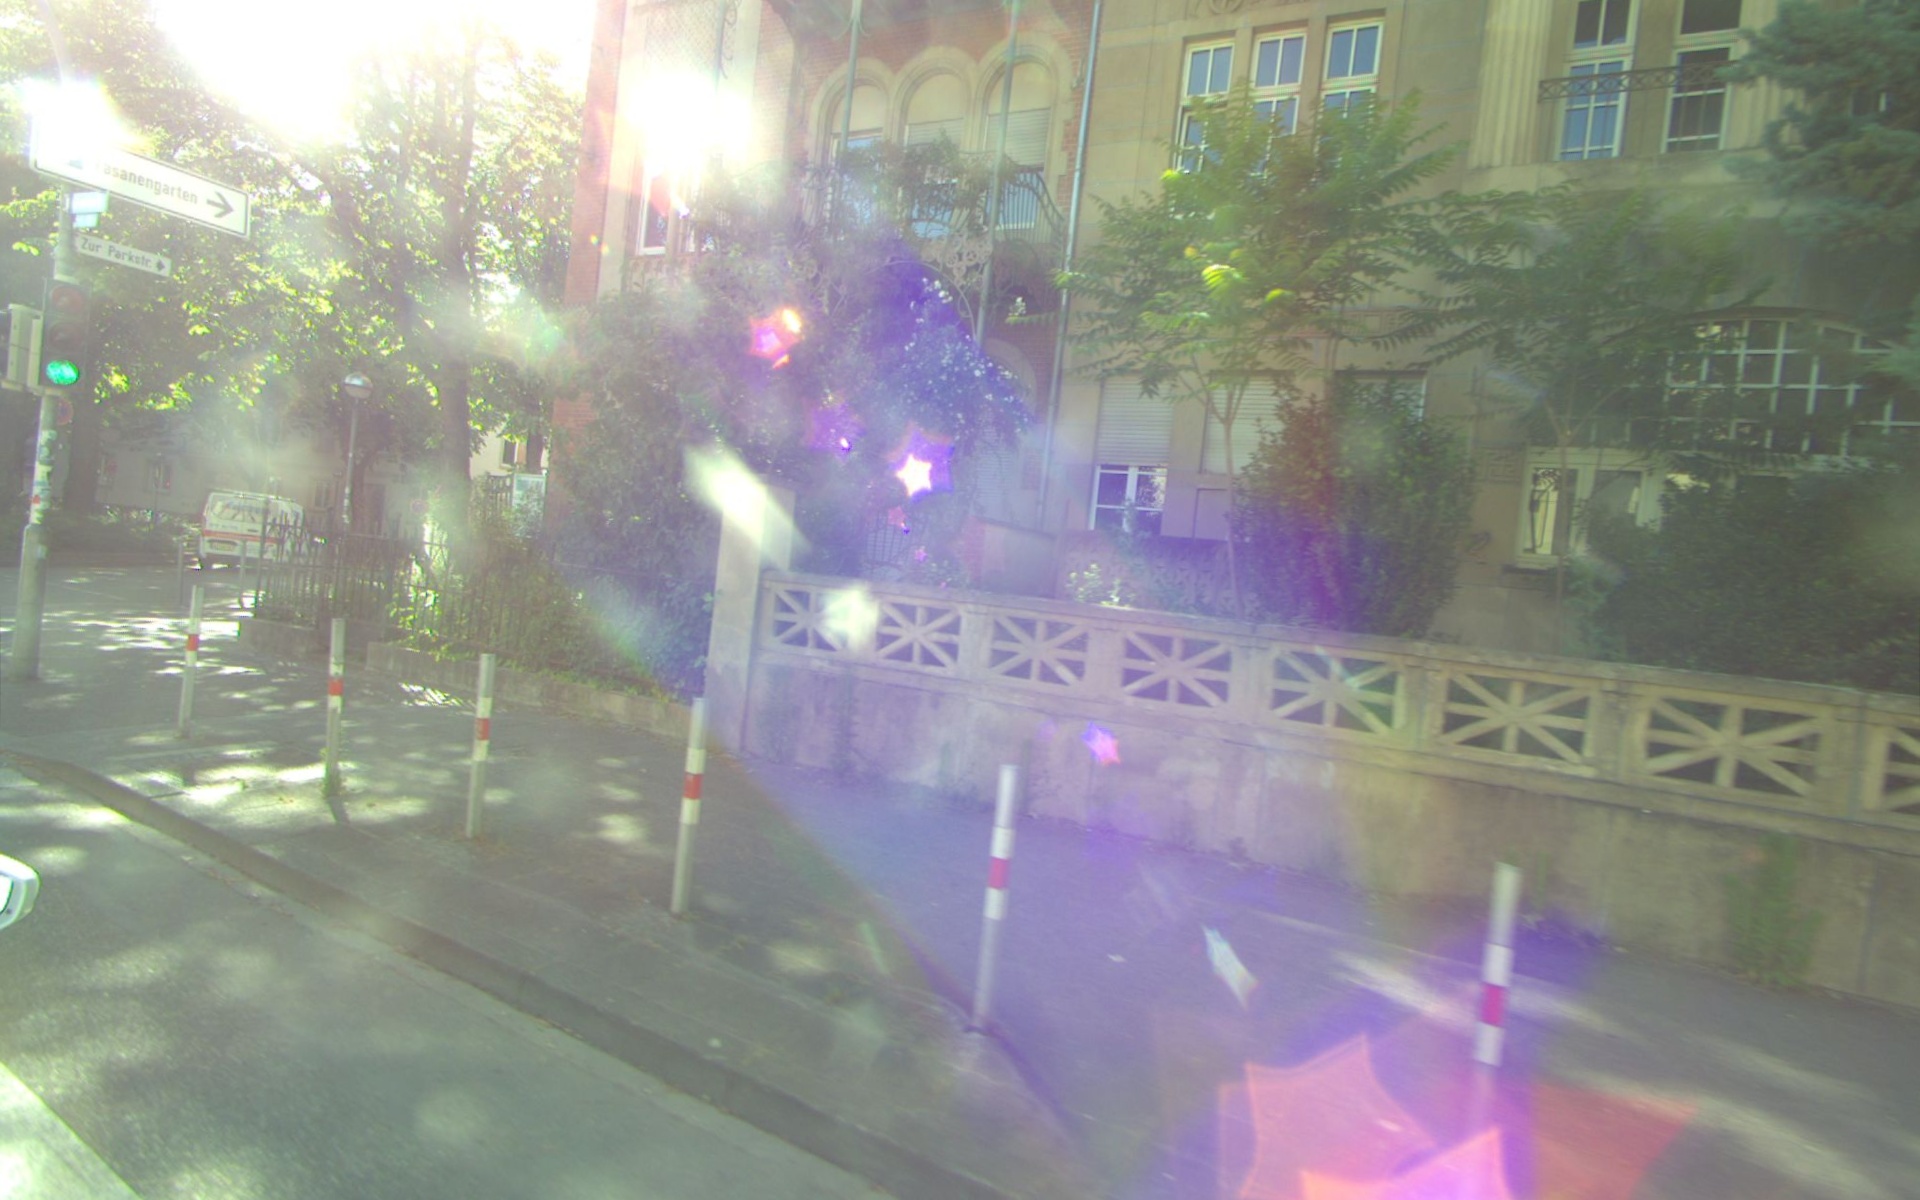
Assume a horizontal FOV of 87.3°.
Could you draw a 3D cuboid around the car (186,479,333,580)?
[{"bbox_3d":[-18.884,-1.801,27.397,2.097,2.235,4.919,6,-1,-23],"label":"car"}]
